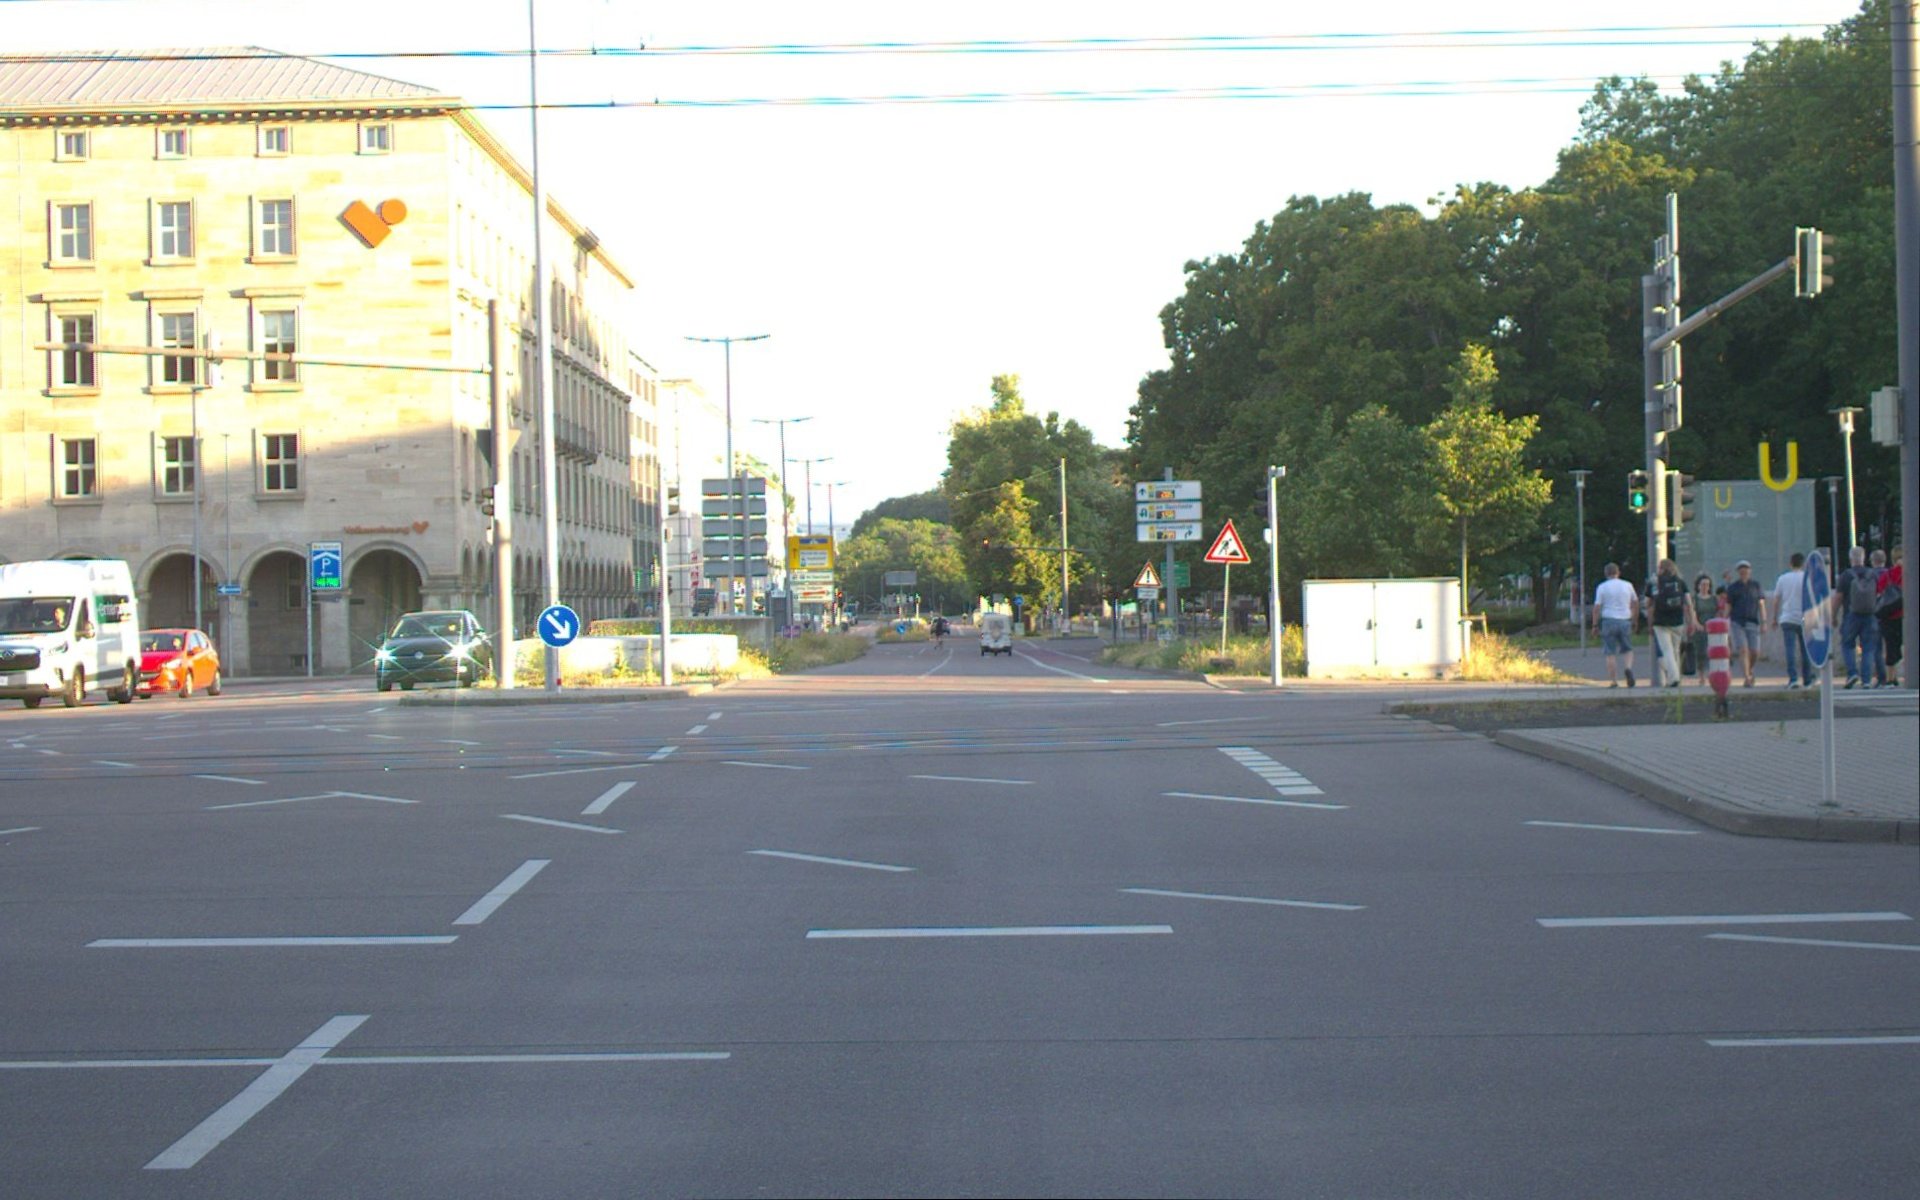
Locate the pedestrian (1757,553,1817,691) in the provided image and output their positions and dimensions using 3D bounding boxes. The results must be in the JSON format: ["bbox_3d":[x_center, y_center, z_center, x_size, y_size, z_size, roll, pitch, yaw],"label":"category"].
[{"bbox_3d":[10.482,0.274,43.591,0.711,1.719,0.914,-1,0,13],"label":"pedestrian"}]

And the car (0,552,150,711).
[{"bbox_3d":[-16.828,0.556,63.233,2.279,2.766,6.083,-1,0,1],"label":"car"}]

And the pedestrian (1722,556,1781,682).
[{"bbox_3d":[11.203,0.266,48.655,0.680,1.751,0.901,-1,0,20],"label":"pedestrian"}]

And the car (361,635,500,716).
[{"bbox_3d":[-9.714,1.360,63.352,1.823,1.337,4.000,-1,0,2],"label":"car"}]

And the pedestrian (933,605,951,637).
[{"bbox_3d":[-0.986,1.126,185.270,0.906,1.665,1.307,-1,0,-2],"label":"pedestrian"}]

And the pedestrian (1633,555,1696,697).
[{"bbox_3d":[8.705,0.316,42.493,0.711,1.719,0.914,-1,0,10],"label":"pedestrian"}]

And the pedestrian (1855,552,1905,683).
[{"bbox_3d":[11.817,0.222,44.161,0.572,1.673,0.638,-1,0,14],"label":"pedestrian"}]

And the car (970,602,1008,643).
[{"bbox_3d":[1.226,0.945,145.516,1.483,1.690,2.974,-1,0,-2],"label":"car"}]

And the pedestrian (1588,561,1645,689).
[{"bbox_3d":[8.935,0.333,46.773,0.711,1.719,0.668,-1,0,13],"label":"pedestrian"}]

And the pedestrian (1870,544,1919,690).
[{"bbox_3d":[11.336,0.200,41.395,0.703,1.728,0.846,-1,0,16],"label":"pedestrian"}]

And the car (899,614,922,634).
[{"bbox_3d":[-3.245,1.550,225.767,1.370,1.230,3.045,-1,0,1],"label":"car"}]

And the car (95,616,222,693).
[{"bbox_3d":[-16.693,1.109,71.792,1.738,1.482,4.000,-1,0,-1],"label":"car"}]

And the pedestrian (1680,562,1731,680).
[{"bbox_3d":[10.603,0.293,48.899,0.560,1.649,0.901,-1,0,20],"label":"pedestrian"}]

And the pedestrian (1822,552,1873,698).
[{"bbox_3d":[10.991,0.307,42.580,0.572,1.785,0.638,-1,0,14],"label":"pedestrian"}]
